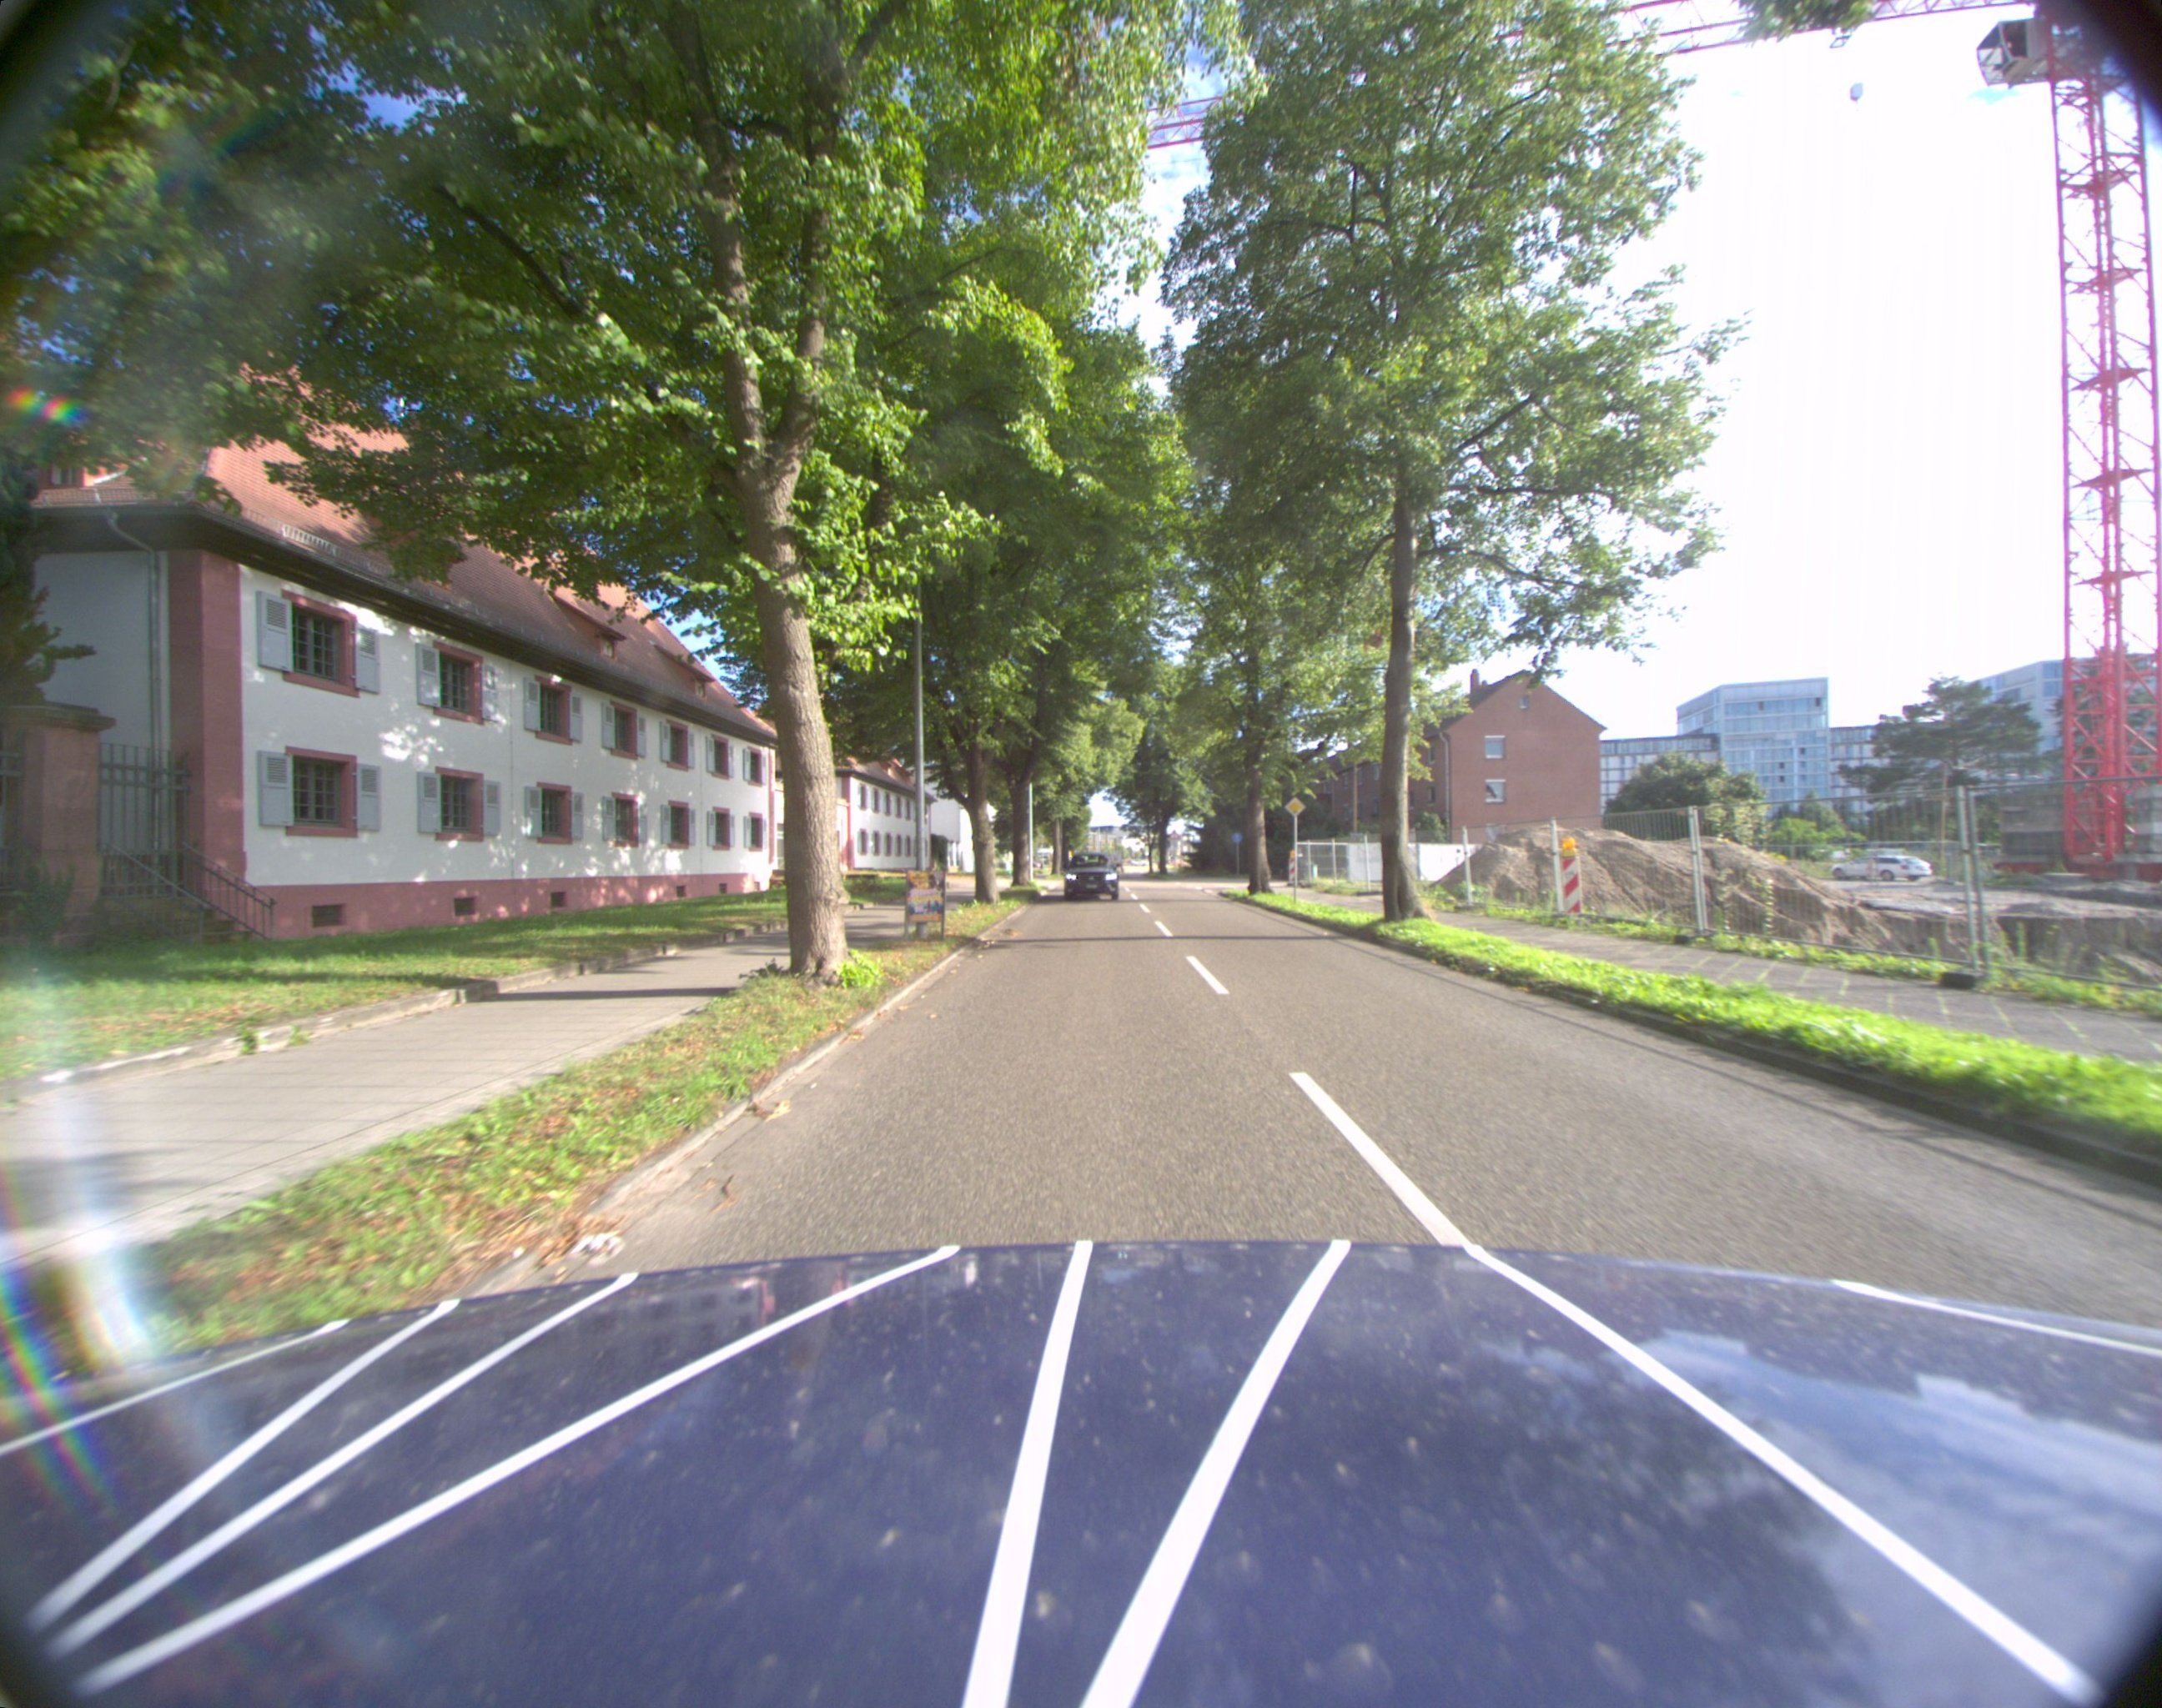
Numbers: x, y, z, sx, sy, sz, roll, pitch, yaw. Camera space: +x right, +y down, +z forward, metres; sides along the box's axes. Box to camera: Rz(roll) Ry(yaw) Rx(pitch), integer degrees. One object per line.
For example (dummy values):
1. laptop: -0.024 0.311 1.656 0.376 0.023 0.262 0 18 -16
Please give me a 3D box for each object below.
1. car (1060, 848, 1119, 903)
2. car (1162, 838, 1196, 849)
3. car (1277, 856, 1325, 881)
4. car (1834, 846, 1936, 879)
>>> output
1. car: 0.361 0.688 25.878 1.821 1.648 4.244 -2 -1 3
2. car: 18.710 -1.960 145.660 2.482 1.856 6.235 -2 1 -42
3. car: 14.134 0.914 49.107 1.998 1.420 4.508 0 1 3
4. car: 48.693 0.471 46.156 1.817 1.797 3.982 -2 2 -4
